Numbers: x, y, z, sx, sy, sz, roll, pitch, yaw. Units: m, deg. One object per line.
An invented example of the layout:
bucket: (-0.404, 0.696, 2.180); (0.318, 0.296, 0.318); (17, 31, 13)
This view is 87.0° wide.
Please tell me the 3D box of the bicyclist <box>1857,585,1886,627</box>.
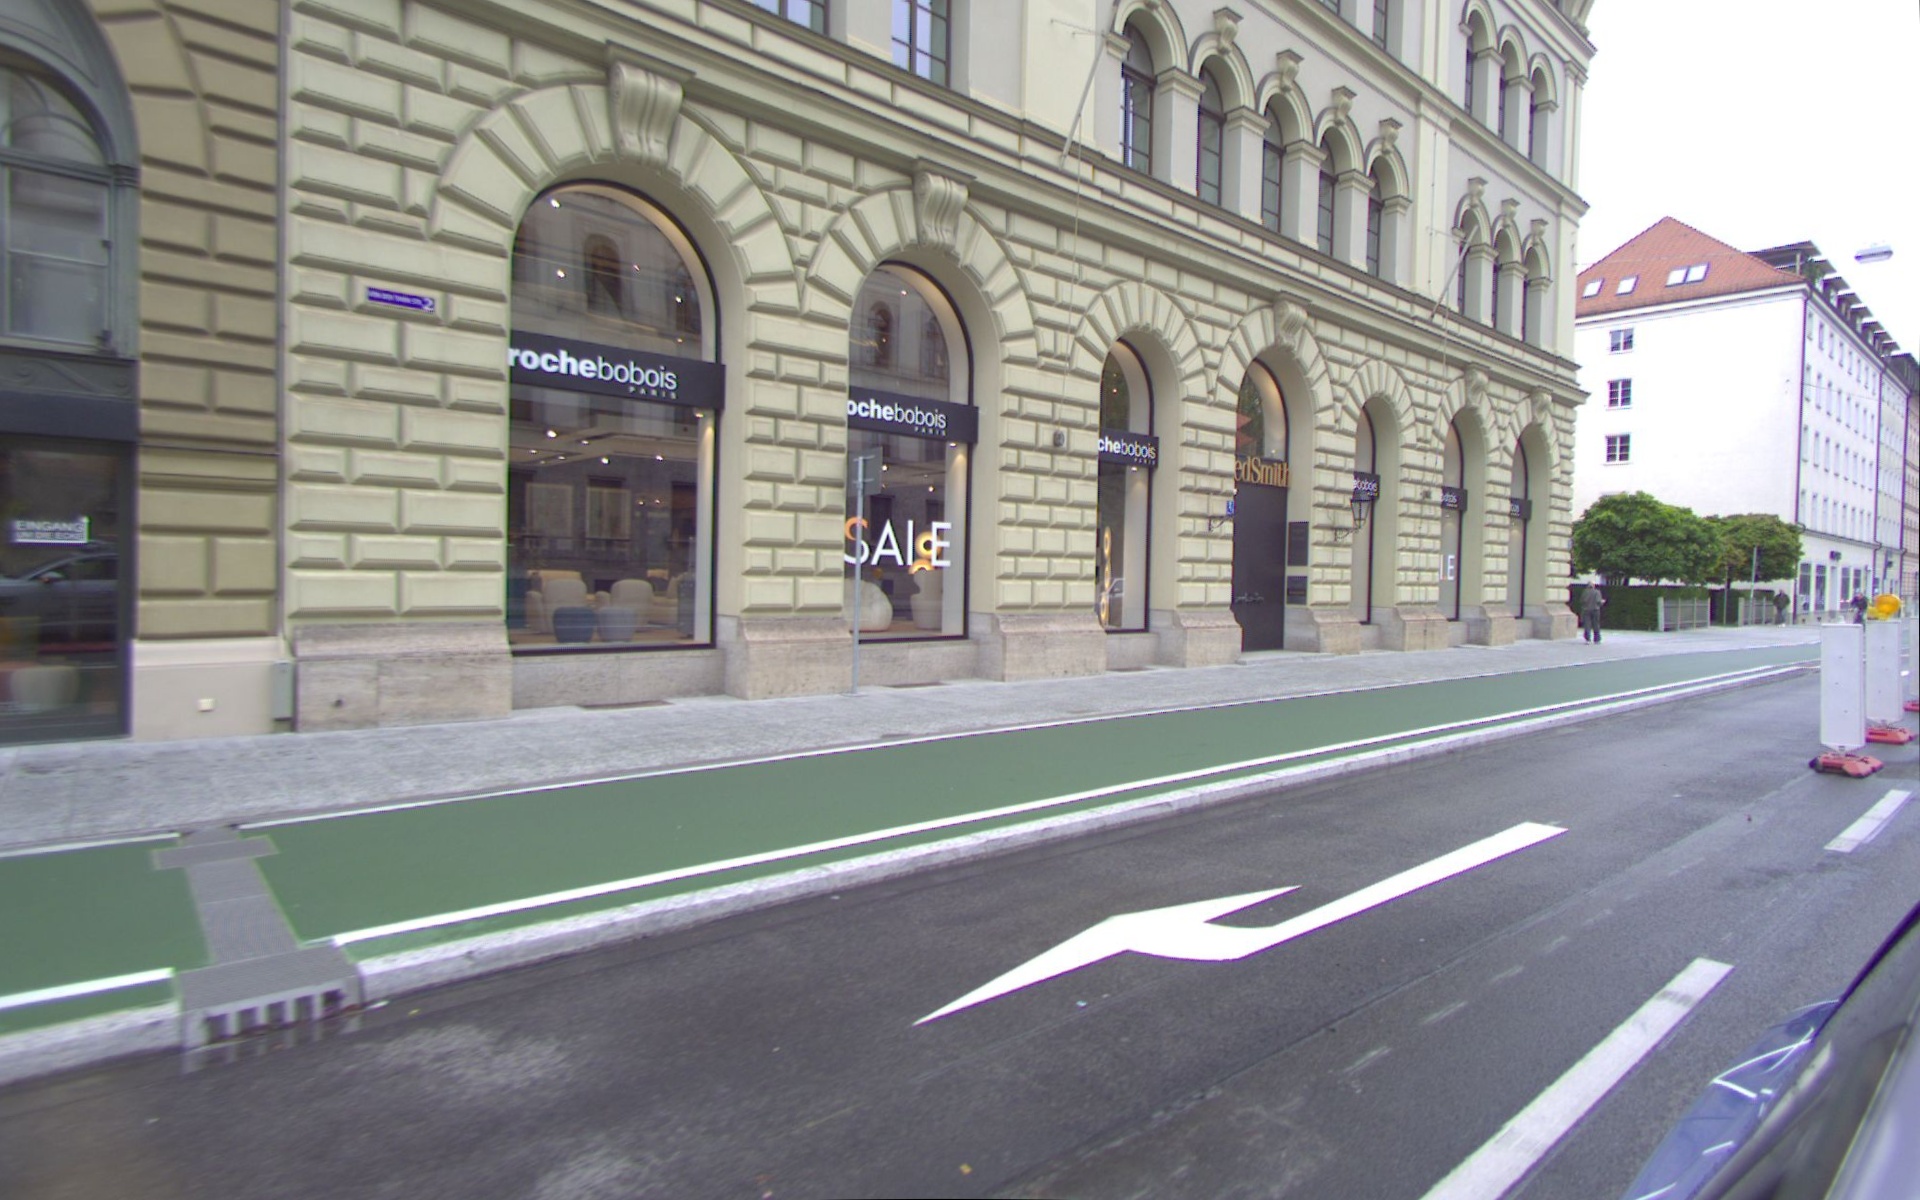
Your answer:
bicyclist: (34.250, 0.211, 38.017); (0.843, 1.572, 0.723); (0, 0, -41)

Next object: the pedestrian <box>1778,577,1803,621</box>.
pedestrian: (37.237, -0.055, 45.400); (0.811, 1.897, 0.655); (0, 3, -41)

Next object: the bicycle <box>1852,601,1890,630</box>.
bicycle: (34.171, 0.569, 37.950); (2.487, 1.045, 0.750); (0, 1, -41)

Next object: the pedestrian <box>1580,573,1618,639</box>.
pedestrian: (17.153, 0.148, 27.151); (0.632, 1.725, 1.069); (3, 2, 43)
